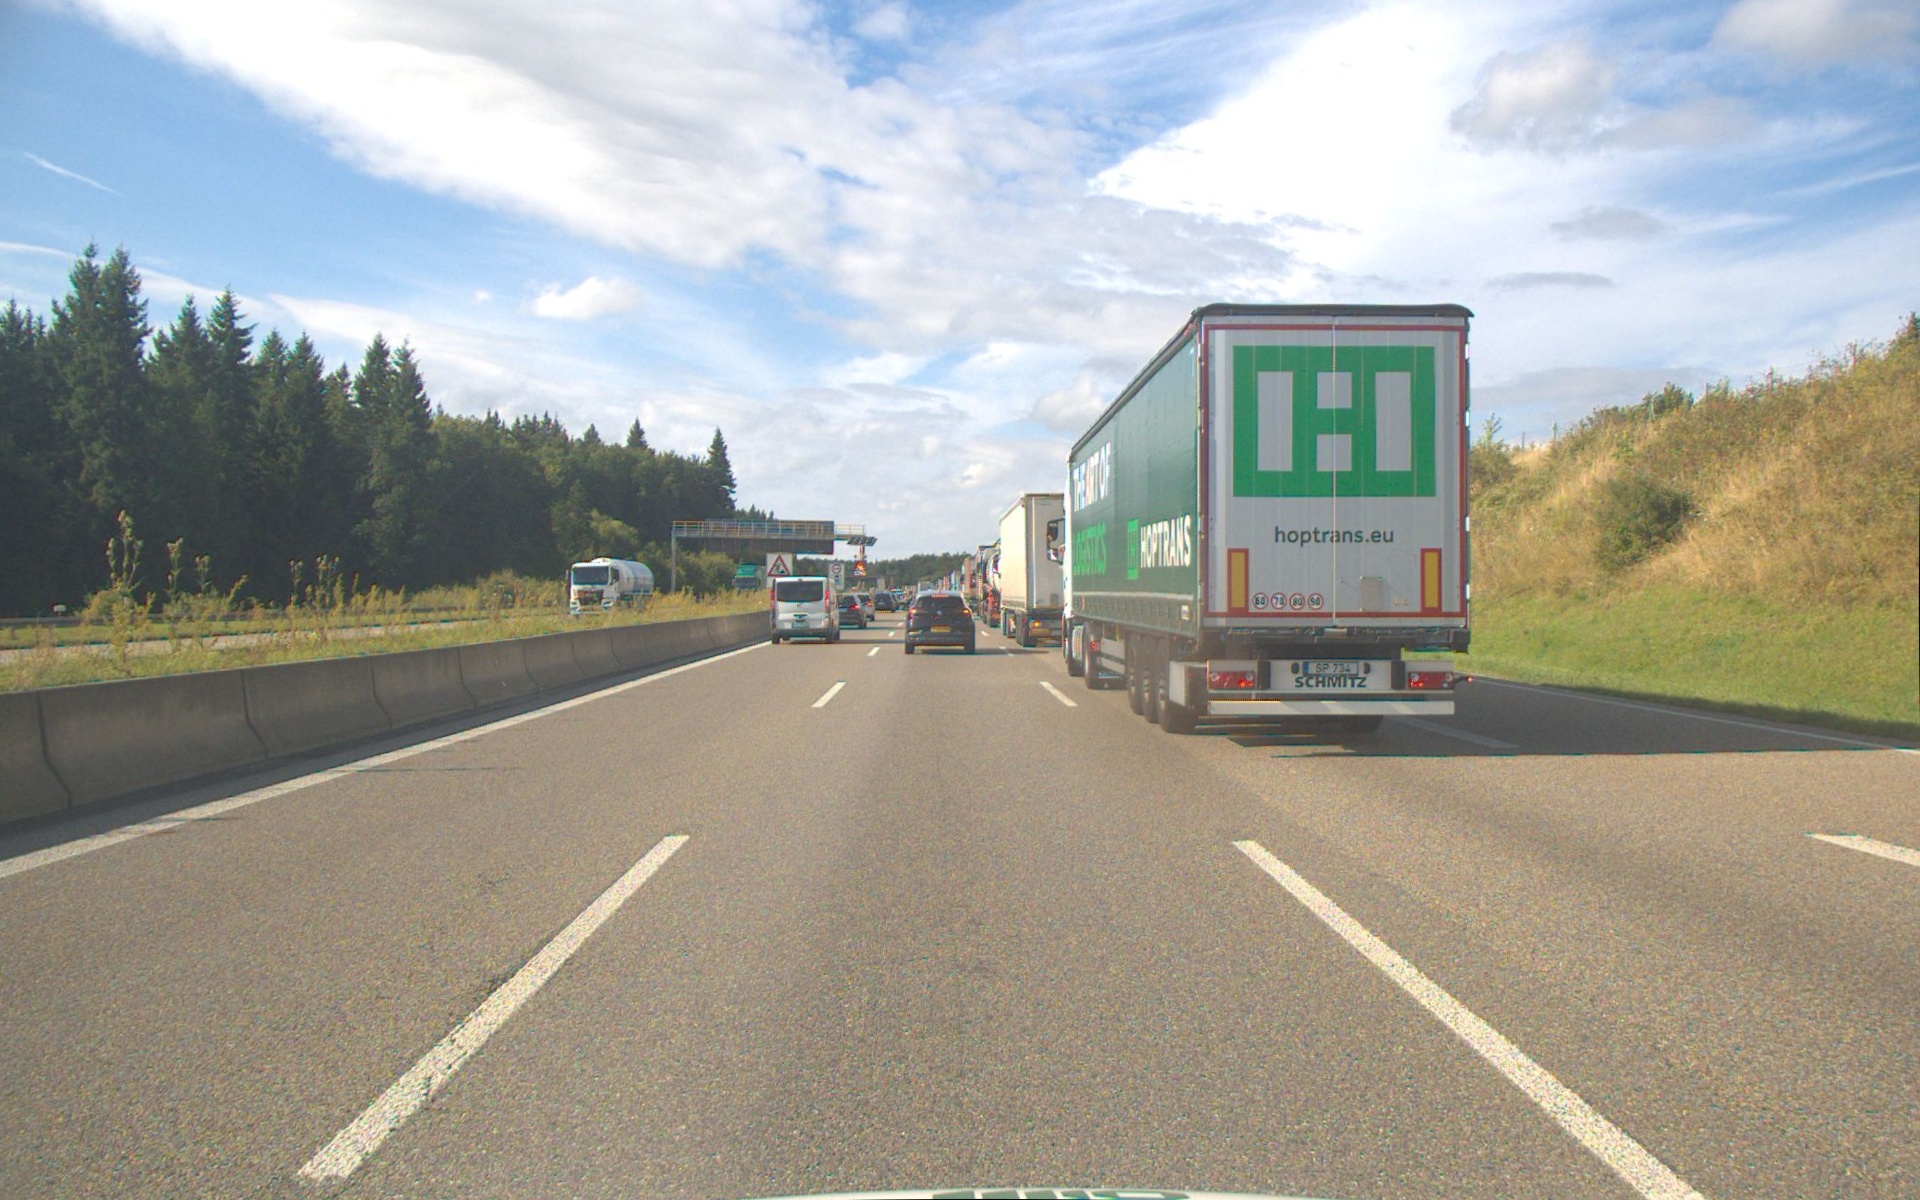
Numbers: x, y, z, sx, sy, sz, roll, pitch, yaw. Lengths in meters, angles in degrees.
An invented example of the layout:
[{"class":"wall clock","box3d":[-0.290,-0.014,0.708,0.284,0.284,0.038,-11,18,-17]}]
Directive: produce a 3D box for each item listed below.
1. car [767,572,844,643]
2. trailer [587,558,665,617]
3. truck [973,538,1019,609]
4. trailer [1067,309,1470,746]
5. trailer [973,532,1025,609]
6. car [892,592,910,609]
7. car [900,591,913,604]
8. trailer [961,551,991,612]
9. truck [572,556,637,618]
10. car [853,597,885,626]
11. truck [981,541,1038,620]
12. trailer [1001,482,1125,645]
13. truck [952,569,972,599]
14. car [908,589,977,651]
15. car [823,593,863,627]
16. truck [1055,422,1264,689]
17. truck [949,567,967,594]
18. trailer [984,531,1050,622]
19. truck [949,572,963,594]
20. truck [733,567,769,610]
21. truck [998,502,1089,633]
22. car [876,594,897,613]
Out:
[{"class":"car","box3d":[-4.735,0.225,51.216,1.894,2.013,5.097,3,0,-1]},{"class":"trailer","box3d":[-19.737,-0.731,98.283,2.273,3.342,10.877,0,0,1]},{"class":"truck","box3d":[2.224,-1.616,104.575,2.729,4.321,6.459,-1,0,0]},{"class":"trailer","box3d":[3.223,-0.650,21.616,2.607,3.936,13.392,0,0,-1]},{"class":"trailer","box3d":[2.217,-1.643,98.046,2.745,4.318,11.056,-1,0,0]},{"class":"car","box3d":[-5.077,0.031,142.456,1.406,1.333,3.532,3,0,-1]},{"class":"car","box3d":[-6.010,-0.258,186.451,1.333,1.323,3.084,3,0,-1]},{"class":"trailer","box3d":[1.153,-1.323,122.557,2.106,4.333,8.439,0,0,0]},{"class":"truck","box3d":[-19.781,-0.691,92.294,2.270,3.331,6.105,0,0,0]},{"class":"car","box3d":[-4.816,0.582,87.604,1.470,1.420,3.475,3,0,-1]},{"class":"truck","box3d":[2.347,-0.906,80.203,2.482,3.646,6.728,0,0,-1]},{"class":"trailer","box3d":[2.816,-0.971,48.950,2.648,4.153,12.942,-1,0,-1]},{"class":"truck","box3d":[0.218,-1.688,172.628,1.953,2.983,4.981,3,0,0]},{"class":"car","box3d":[-0.456,0.494,42.390,1.662,1.509,4.159,0,0,-1]},{"class":"car","box3d":[-4.882,0.408,69.221,1.469,1.420,3.475,0,0,-1]},{"class":"truck","box3d":[3.152,-0.654,27.934,2.593,3.936,6.995,0,0,-1]},{"class":"truck","box3d":[-0.265,-2.385,199.909,1.953,3.105,4.981,3,0,0]},{"class":"trailer","box3d":[2.426,-0.967,73.584,2.489,3.717,10.625,0,0,-1]},{"class":"truck","box3d":[-0.608,-2.430,243.759,1.953,3.105,4.981,3,0,0]},{"class":"truck","box3d":[-21.966,-1.163,174.216,2.656,4.318,10.341,0,0,-2]},{"class":"truck","box3d":[2.725,-1.030,55.744,2.653,4.131,6.360,-1,0,-1]},{"class":"car","box3d":[-5.506,0.277,124.098,1.406,1.333,3.532,3,0,-1]}]
